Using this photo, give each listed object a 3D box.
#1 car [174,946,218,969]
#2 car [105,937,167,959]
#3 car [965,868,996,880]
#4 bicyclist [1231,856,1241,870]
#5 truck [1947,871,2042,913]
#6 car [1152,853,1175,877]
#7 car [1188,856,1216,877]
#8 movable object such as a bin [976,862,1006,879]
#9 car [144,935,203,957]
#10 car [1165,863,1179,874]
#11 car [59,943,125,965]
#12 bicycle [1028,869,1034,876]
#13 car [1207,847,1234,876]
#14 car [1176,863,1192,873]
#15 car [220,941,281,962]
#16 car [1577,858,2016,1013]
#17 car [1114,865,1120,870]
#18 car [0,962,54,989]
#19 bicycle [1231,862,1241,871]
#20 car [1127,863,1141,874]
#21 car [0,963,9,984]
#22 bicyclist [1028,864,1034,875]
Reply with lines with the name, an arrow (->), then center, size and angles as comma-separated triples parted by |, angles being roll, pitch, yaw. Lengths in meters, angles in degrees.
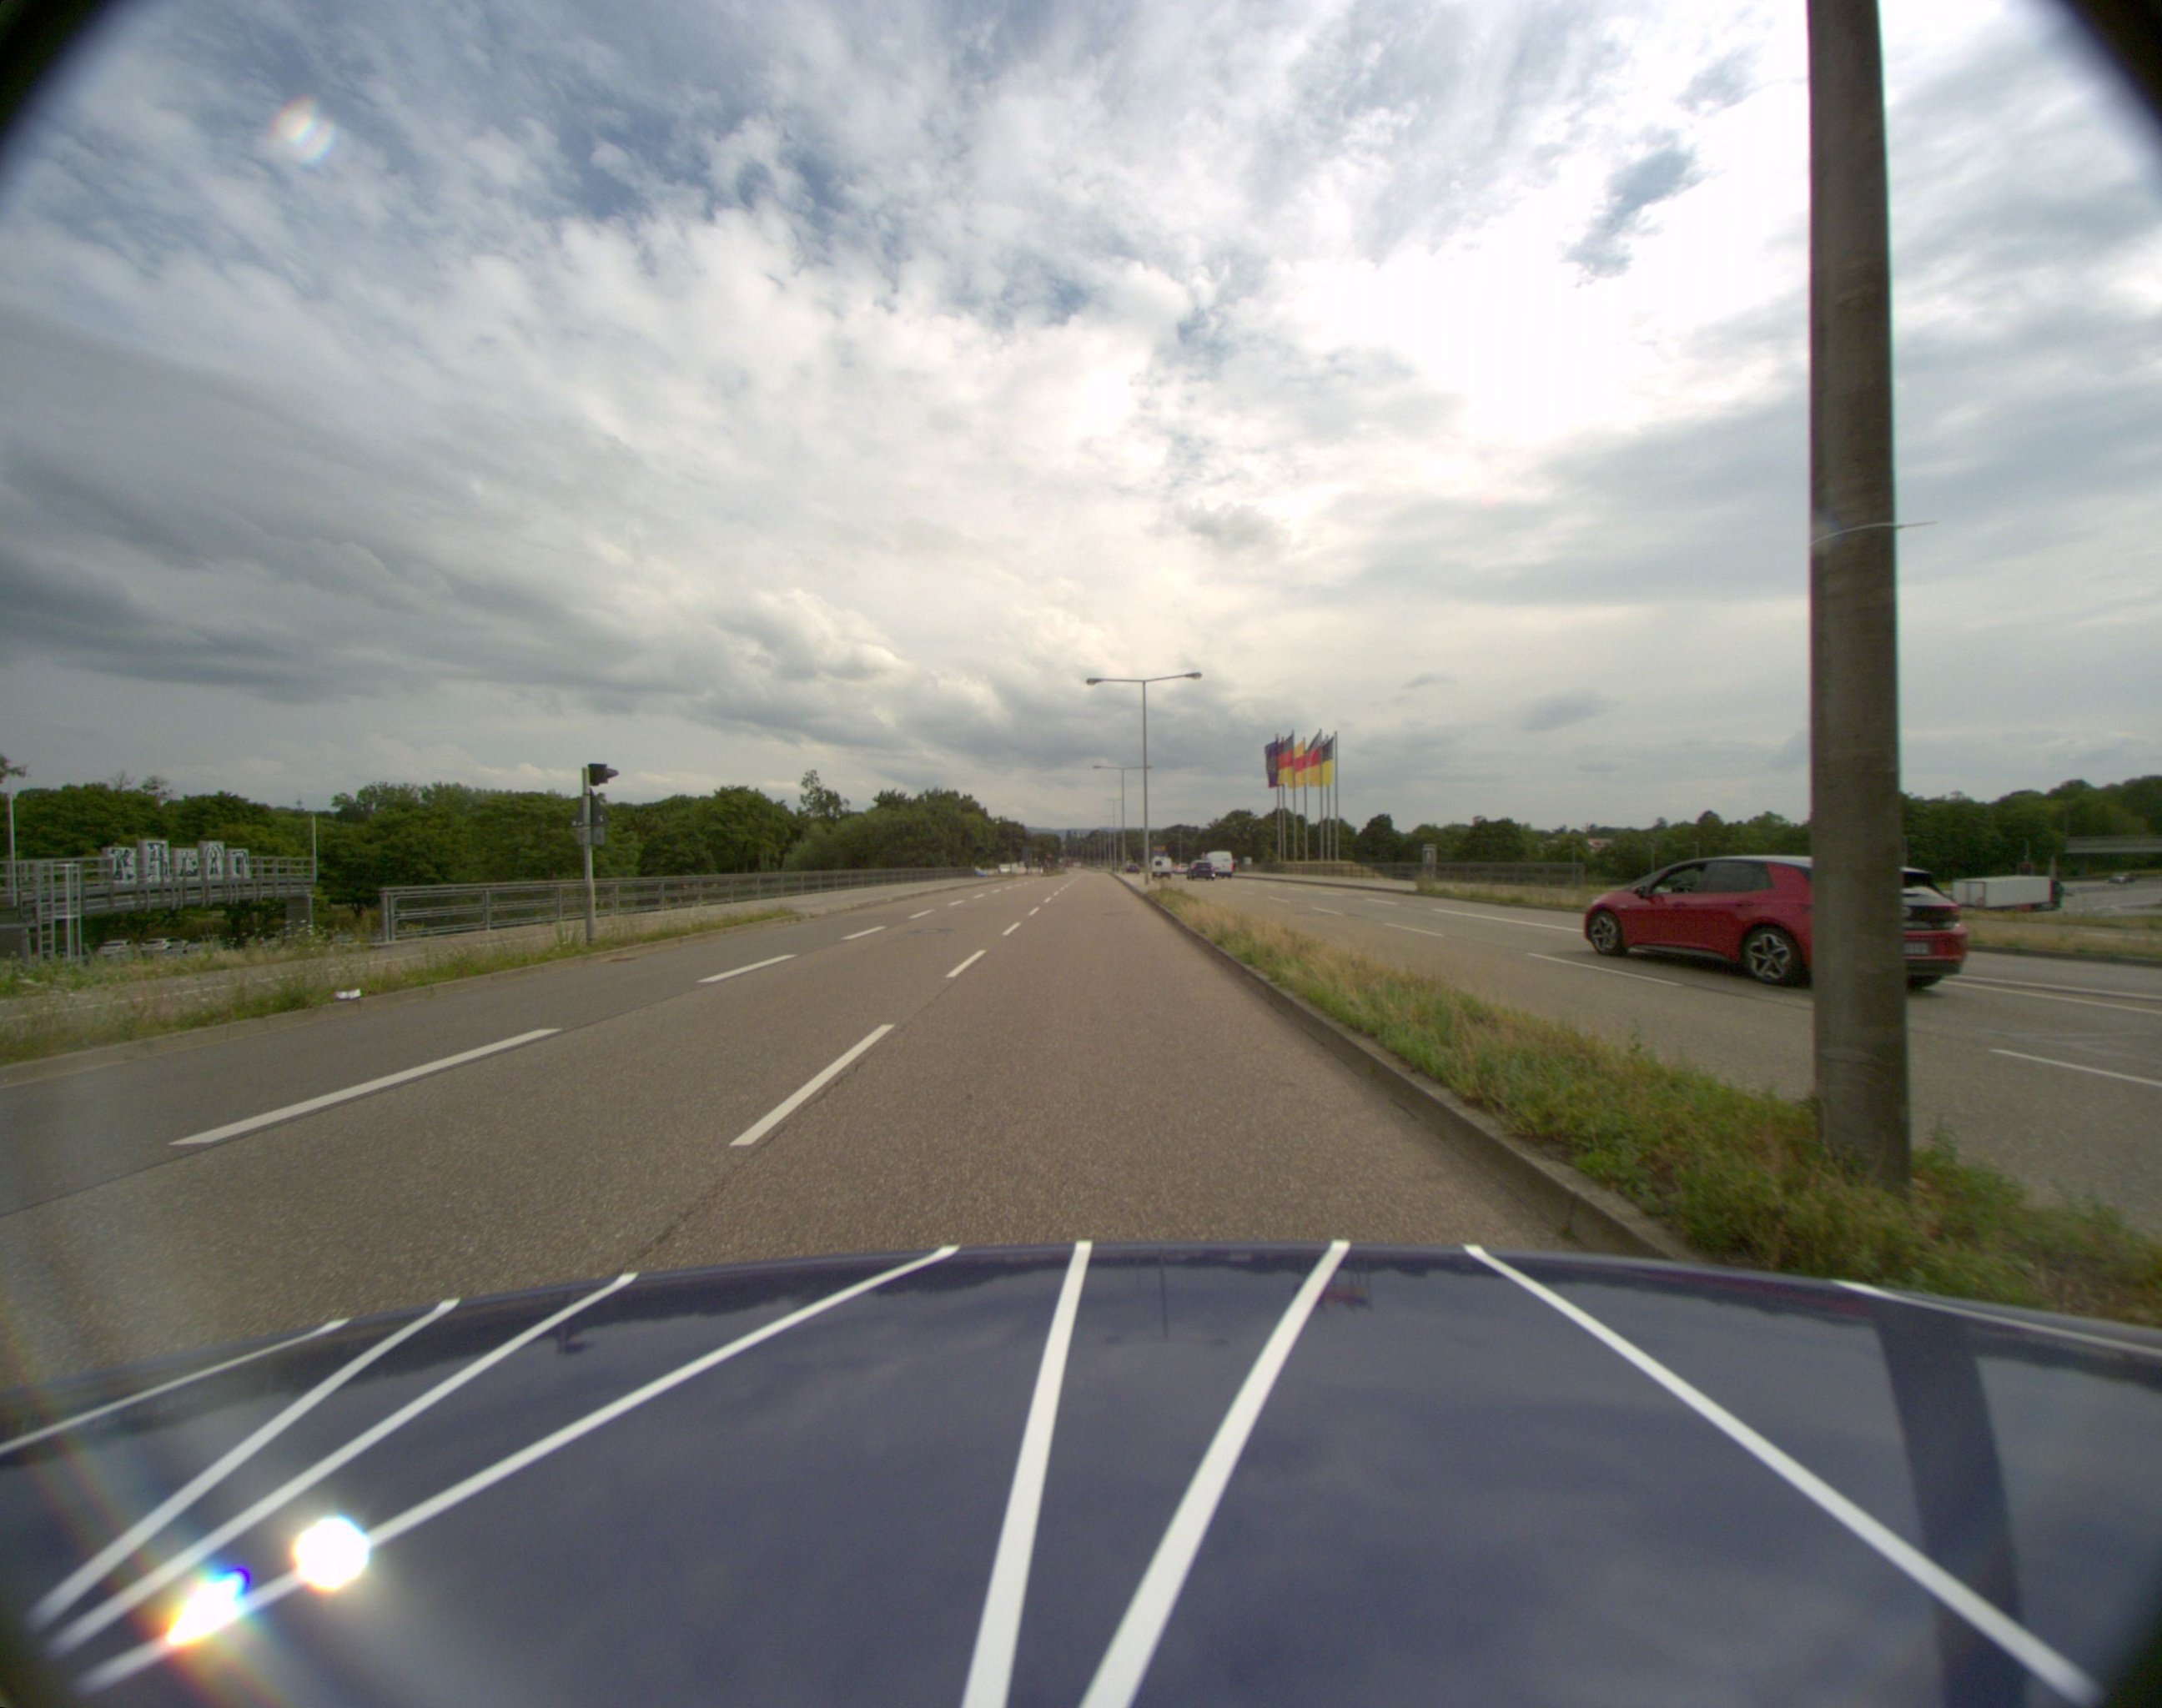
car -> -77.782, 9.082, 66.845 | 2.004, 1.564, 3.989 | -2, 0, -43
car -> -91.588, 9.117, 73.696 | 2.002, 1.564, 3.993 | -2, 0, -21
car -> -14.516, 2.842, 109.383 | 3.990, 1.509, 1.883 | -2, 0, 29
bicyclist -> 18.196, 1.058, 89.172 | 0.797, 1.617, 0.976 | -2, 0, -2
truck -> 106.056, 4.273, 88.154 | 14.022, 4.318, 3.024 | -1, 1, -22
car -> 6.645, 0.898, 61.239 | 1.543, 1.860, 3.571 | 1, 0, 2
car -> 9.827, 0.999, 61.929 | 1.751, 1.576, 4.587 | 1, 0, 2
movable object such as a bin -> -15.001, 2.709, 126.796 | 4.511, 2.673, 2.102 | -2, 0, 5
car -> -89.409, 9.039, 74.903 | 2.002, 1.564, 3.993 | -2, 0, -21
car -> 14.669, 2.296, 122.284 | 1.867, 1.715, 4.771 | 1, 0, 2
car -> -93.840, 9.462, 72.167 | 2.002, 1.564, 3.993 | -2, 0, -21
bicycle -> -7.324, 2.733, 111.434 | 0.578, 1.016, 1.976 | 2, -1, 1
car -> 13.358, 0.707, 73.085 | 2.057, 2.627, 6.403 | 1, 0, 5
car -> 14.560, 1.965, 107.473 | 1.742, 1.472, 4.471 | 1, 0, 1
car -> -74.838, 8.769, 68.518 | 3.993, 1.564, 2.002 | -2, 0, 14
car -> 8.869, 0.865, 10.076 | 1.655, 1.565, 4.338 | 1, 0, -1
car -> 10.897, 4.060, 231.697 | 1.768, 1.432, 4.178 | 1, -1, 1
car -> -80.931, 9.240, 57.445 | 2.002, 1.564, 3.994 | -2, 0, -20
bicycle -> 18.231, 1.466, 89.298 | 0.708, 1.043, 2.059 | -2, 0, -1
car -> 7.591, 2.034, 108.732 | 1.742, 1.472, 4.776 | 1, 0, 1
car -> -83.169, 9.203, 56.527 | 2.002, 1.564, 3.994 | -2, 0, -20
bicyclist -> -7.351, 2.237, 111.301 | 0.666, 1.649, 0.805 | -2, -1, 0
